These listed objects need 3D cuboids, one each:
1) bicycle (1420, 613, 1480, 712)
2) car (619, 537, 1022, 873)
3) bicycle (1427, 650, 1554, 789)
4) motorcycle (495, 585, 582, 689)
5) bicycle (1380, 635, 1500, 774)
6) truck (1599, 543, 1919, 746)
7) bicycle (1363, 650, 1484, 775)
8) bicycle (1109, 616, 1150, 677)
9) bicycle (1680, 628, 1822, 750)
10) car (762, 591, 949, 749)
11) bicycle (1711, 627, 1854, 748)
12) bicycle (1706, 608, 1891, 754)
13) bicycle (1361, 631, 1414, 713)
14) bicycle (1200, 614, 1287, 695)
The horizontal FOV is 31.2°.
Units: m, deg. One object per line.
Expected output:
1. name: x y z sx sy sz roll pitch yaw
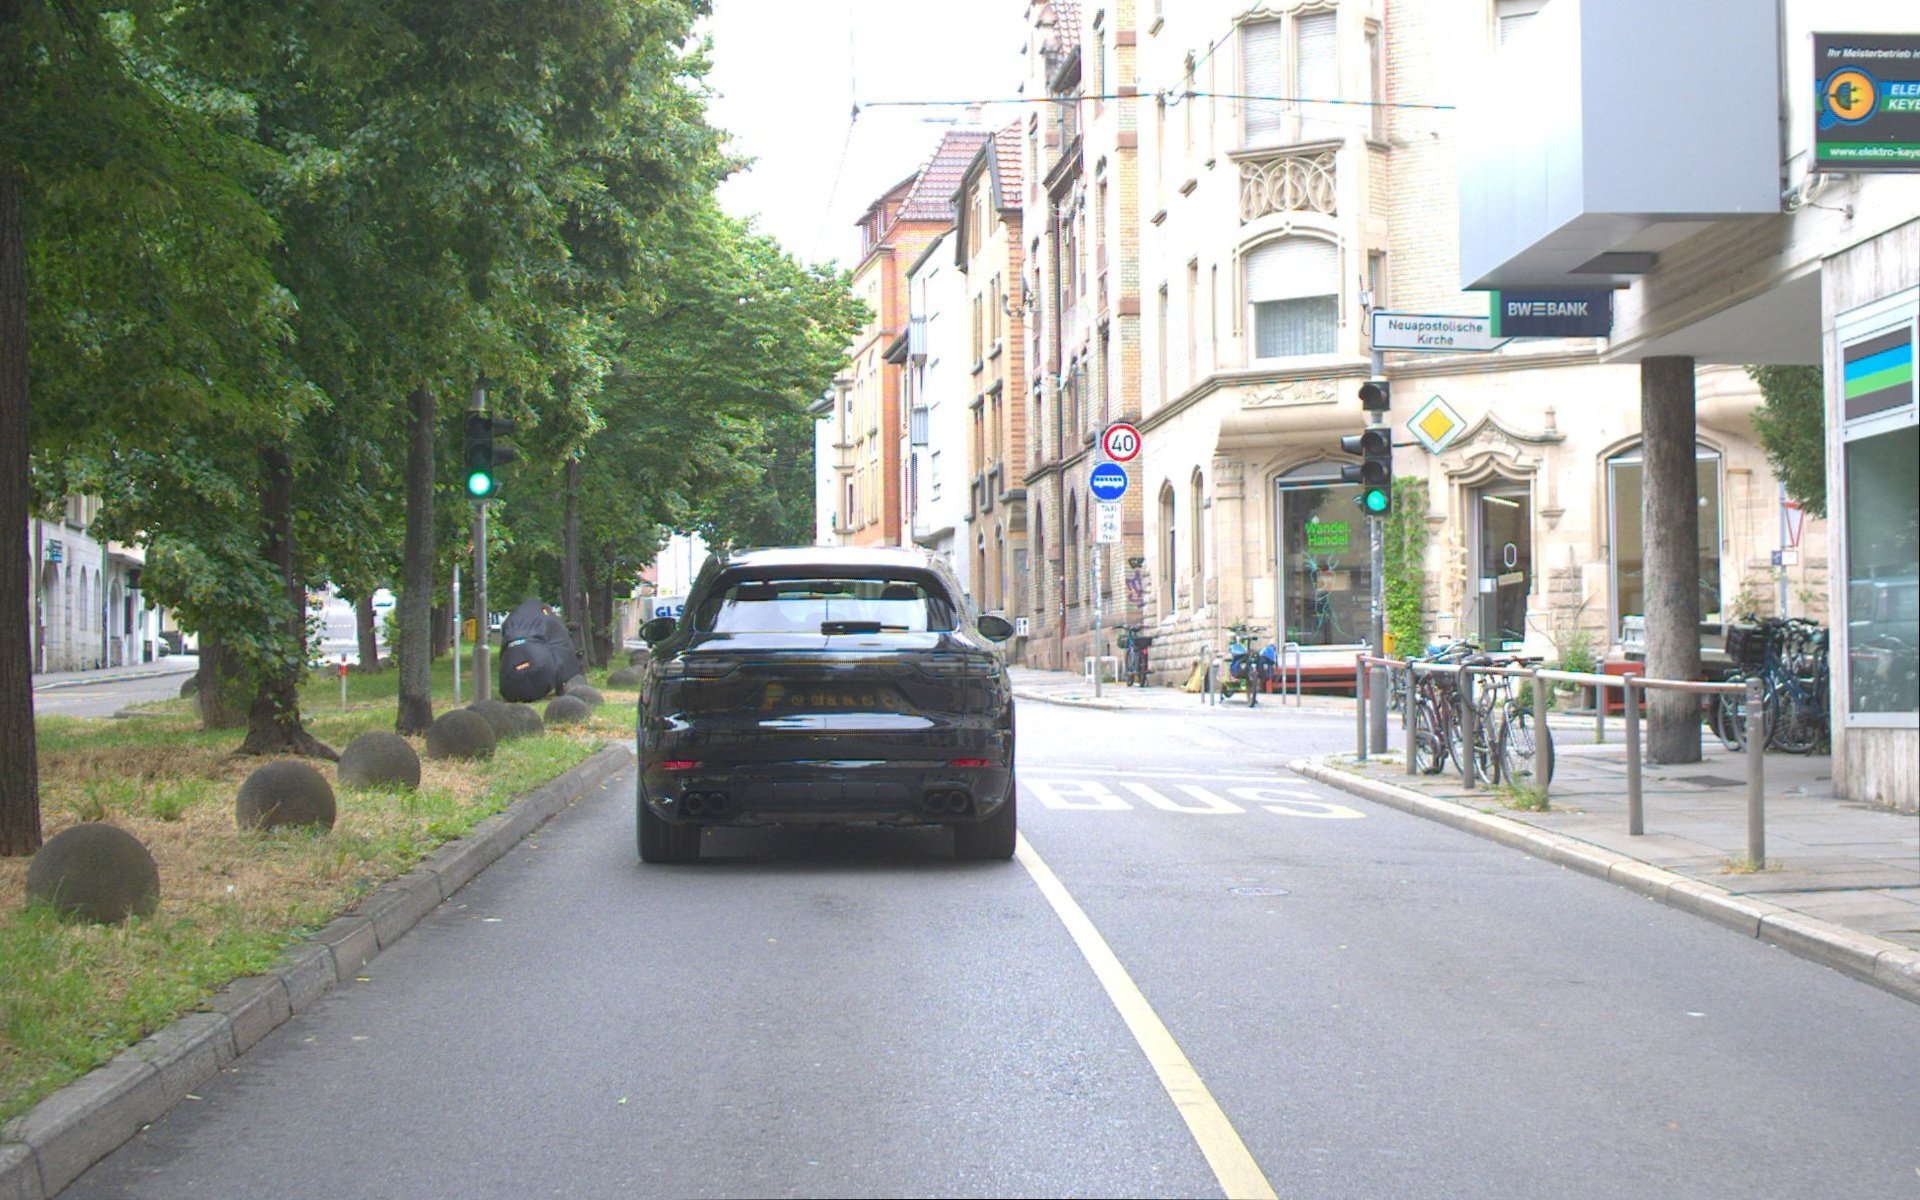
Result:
1. bicycle: 6.687 0.844 46.995 0.446 1.157 1.835 -1 5 -3
2. car: -0.798 0.520 19.083 1.993 1.660 4.000 0 0 -3
3. bicycle: 3.738 0.827 24.319 0.569 0.928 1.775 0 -1 -2
4. motorcycle: -6.087 0.536 49.739 1.019 1.441 2.247 -2 -1 -2
5. bicycle: 3.758 0.803 27.017 0.286 1.051 1.761 1 -1 -14
6. truck: 10.331 0.527 38.870 5.557 2.126 2.382 2 0 -11
7. bicycle: 3.585 0.860 26.695 0.286 0.928 1.761 1 -1 -14
8. bicycle: 2.960 0.822 60.220 0.446 1.033 2.248 -1 -1 -4
9. bicycle: 6.943 0.769 30.243 0.318 1.040 1.761 1 -1 -19
10. car: -1.010 0.742 34.424 1.763 1.461 3.591 0 -3 -1
11. bicycle: 7.247 0.757 30.355 0.318 1.040 1.761 1 -1 -19
12. bicycle: 7.032 0.668 28.893 0.318 1.194 1.761 1 -1 -34
13. bicycle: 5.885 0.983 47.370 0.349 1.055 1.834 3 0 -4
14. bicycle: 4.024 0.766 49.049 0.879 1.125 2.979 0 -1 -2
